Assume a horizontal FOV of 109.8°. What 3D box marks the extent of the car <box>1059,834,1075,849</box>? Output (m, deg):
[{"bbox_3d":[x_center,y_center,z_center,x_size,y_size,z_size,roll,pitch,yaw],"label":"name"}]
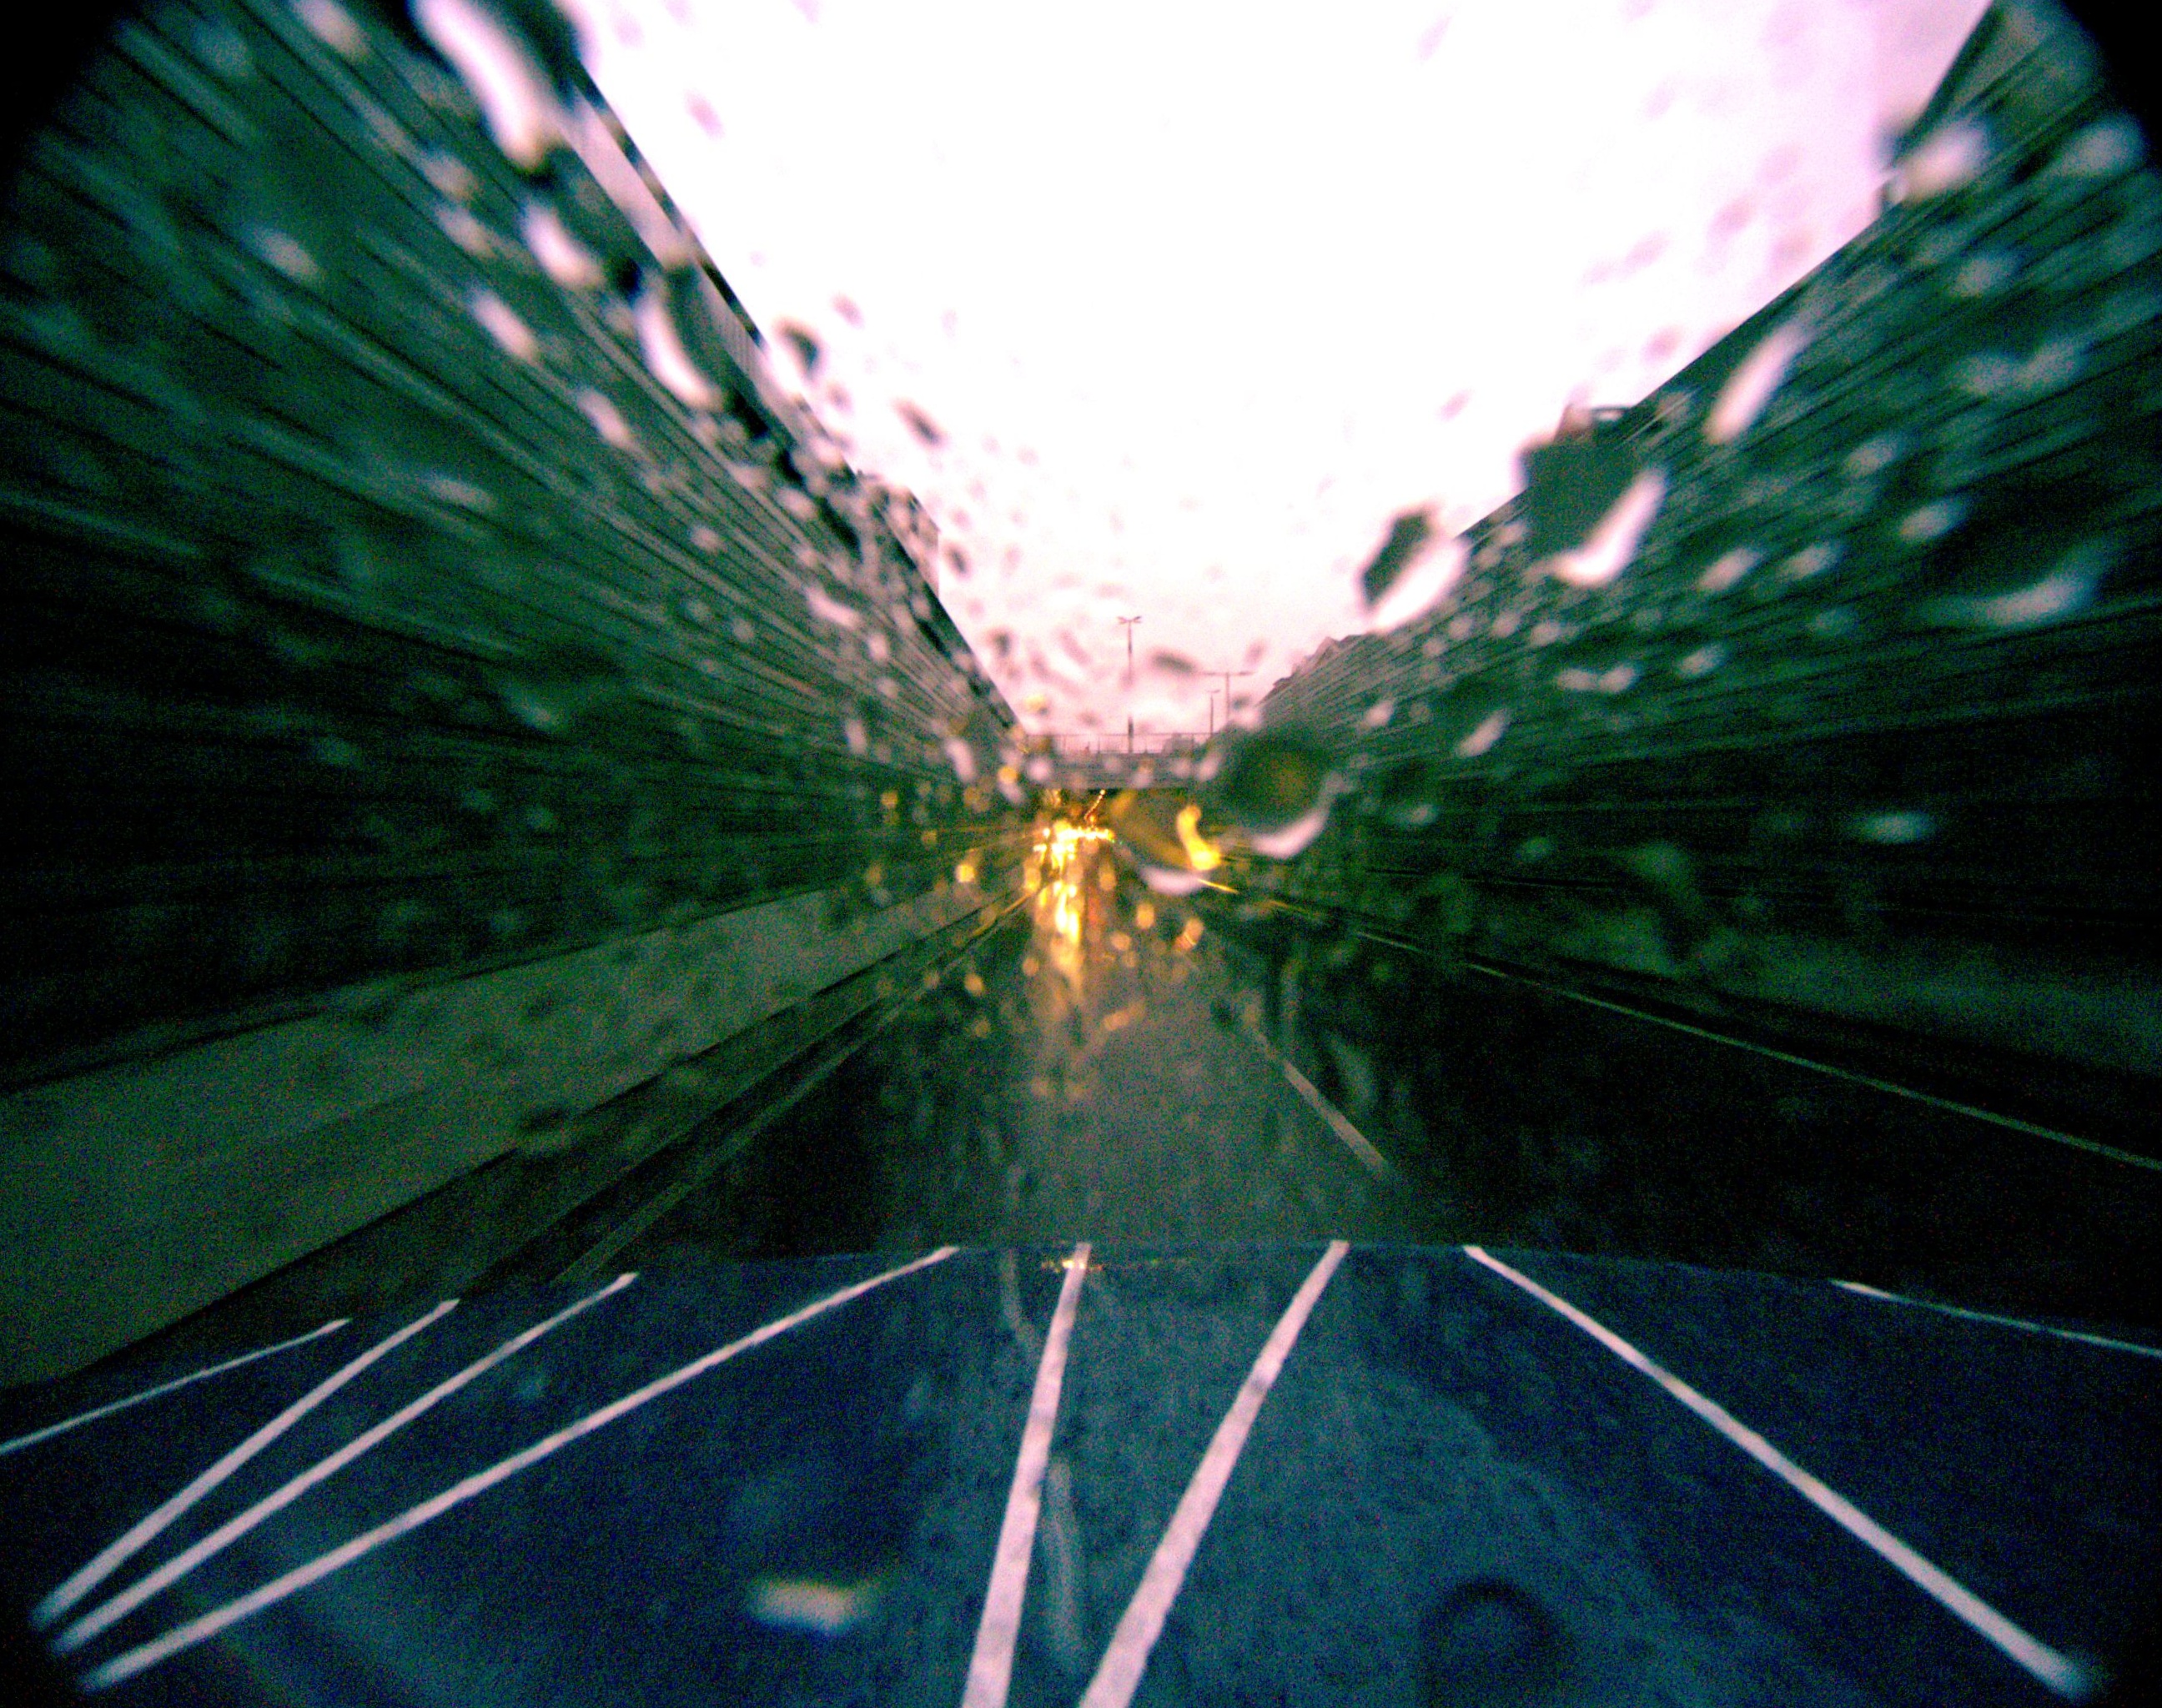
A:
[{"bbox_3d":[-1.900,-1.762,104.621,2.031,2.018,4.422,-2,2,-2],"label":"car"}]
